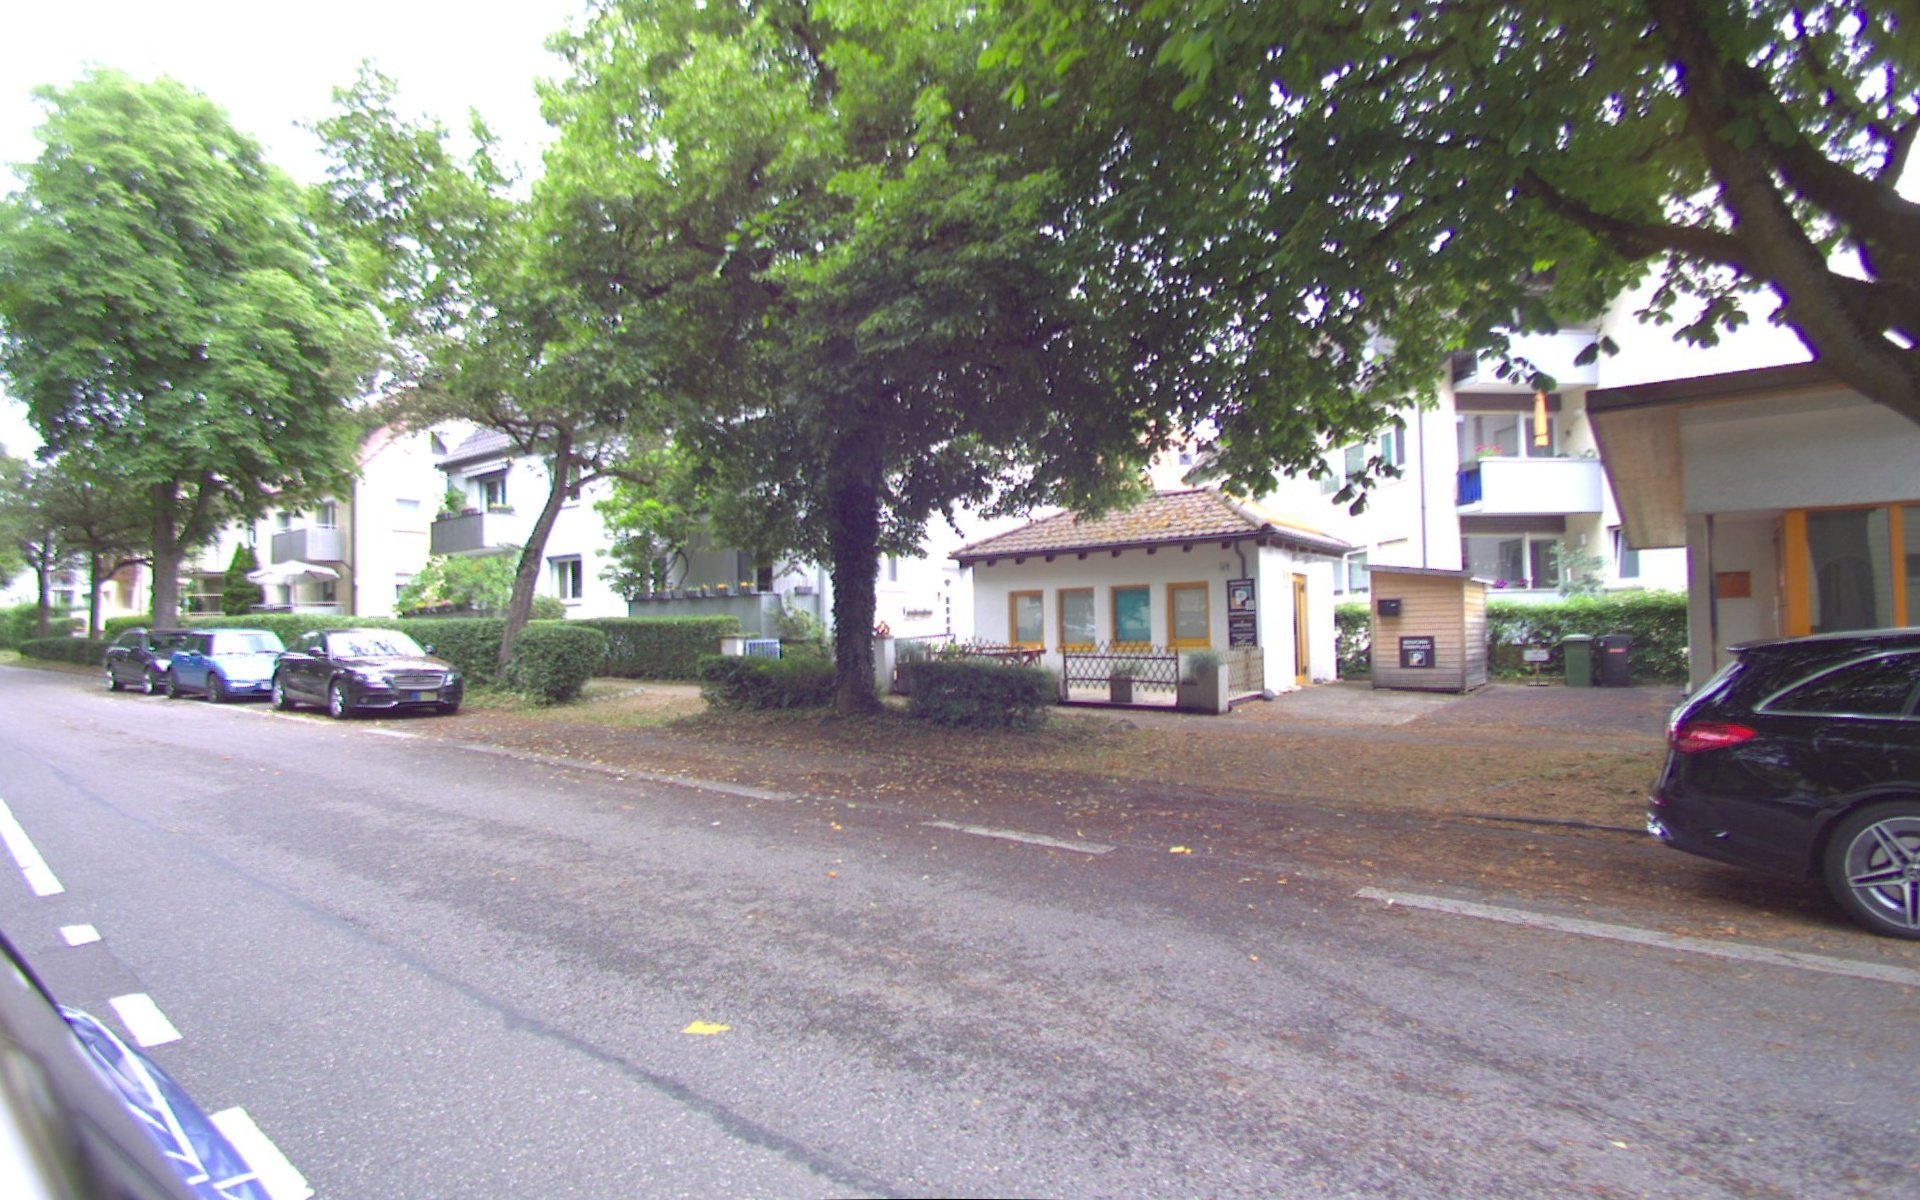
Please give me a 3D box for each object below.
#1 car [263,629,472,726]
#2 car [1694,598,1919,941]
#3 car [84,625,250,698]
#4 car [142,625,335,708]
[{"bbox_3d":[-9.963,1.215,16.887,4.168,1.414,1.713,-2,-3,40],"label":"car"},{"bbox_3d":[6.033,0.736,4.275,4.611,1.511,1.973,-2,-3,40],"label":"car"},{"bbox_3d":[-18.460,1.382,23.497,4.557,1.545,1.866,-2,-3,36],"label":"car"},{"bbox_3d":[-14.721,1.291,20.571,4.557,1.512,1.866,-2,-3,36],"label":"car"}]
